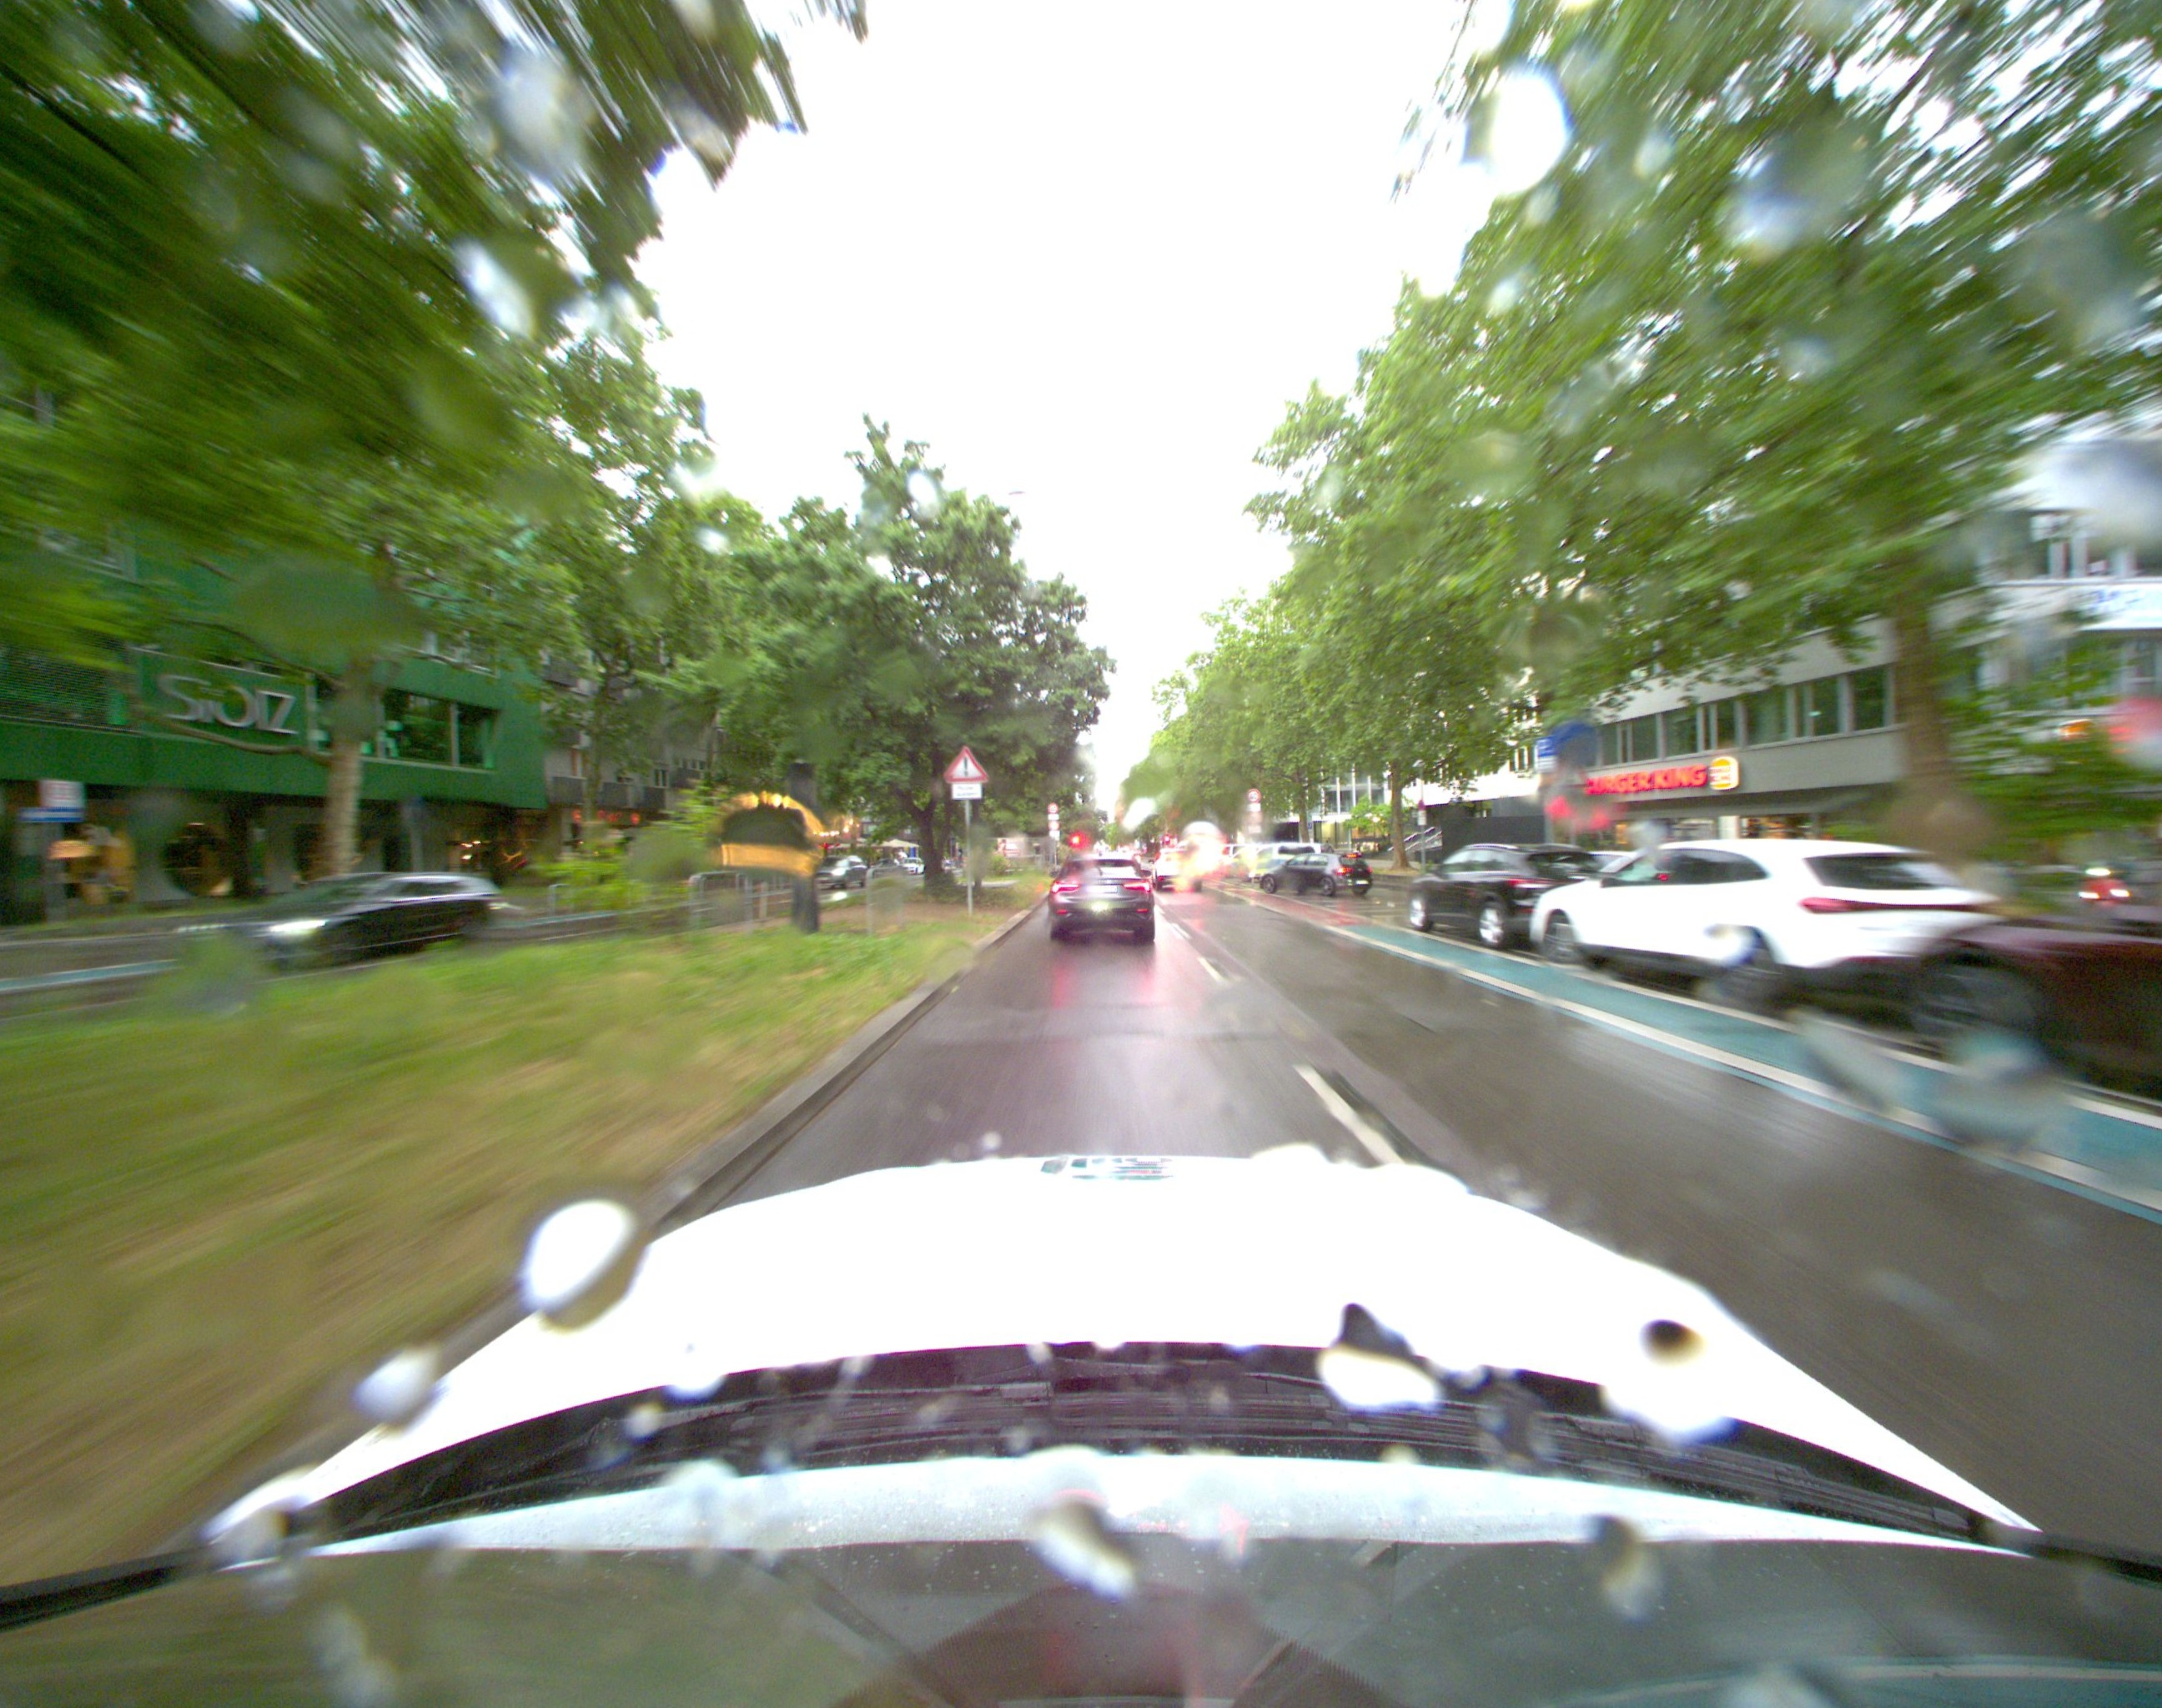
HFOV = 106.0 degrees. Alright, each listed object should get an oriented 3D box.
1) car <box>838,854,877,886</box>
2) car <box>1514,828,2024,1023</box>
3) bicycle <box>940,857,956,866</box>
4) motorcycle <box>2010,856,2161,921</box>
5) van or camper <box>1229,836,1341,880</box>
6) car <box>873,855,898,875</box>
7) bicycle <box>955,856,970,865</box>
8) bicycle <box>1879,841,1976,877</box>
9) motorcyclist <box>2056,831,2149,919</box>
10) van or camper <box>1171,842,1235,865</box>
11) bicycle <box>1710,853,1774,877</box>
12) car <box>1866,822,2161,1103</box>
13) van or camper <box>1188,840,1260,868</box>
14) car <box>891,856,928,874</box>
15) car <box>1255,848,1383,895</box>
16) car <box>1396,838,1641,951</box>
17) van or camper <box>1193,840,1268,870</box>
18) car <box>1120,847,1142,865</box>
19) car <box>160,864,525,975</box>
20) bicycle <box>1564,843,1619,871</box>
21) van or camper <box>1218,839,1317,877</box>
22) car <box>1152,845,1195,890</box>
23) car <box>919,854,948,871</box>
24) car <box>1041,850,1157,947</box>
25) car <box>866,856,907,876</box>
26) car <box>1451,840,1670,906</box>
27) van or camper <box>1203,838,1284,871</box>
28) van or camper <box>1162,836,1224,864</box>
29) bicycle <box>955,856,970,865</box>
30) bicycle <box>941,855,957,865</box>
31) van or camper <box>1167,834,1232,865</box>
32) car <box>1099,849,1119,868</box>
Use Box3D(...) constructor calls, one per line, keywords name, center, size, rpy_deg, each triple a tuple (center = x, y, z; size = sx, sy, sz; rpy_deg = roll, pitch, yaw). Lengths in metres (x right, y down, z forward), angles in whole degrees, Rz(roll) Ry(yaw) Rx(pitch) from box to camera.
Box3D(name="car", center=(-12.041, 0.819, 44.174), size=(1.720, 1.626, 4.423), rpy_deg=(-1, 0, -12))
Box3D(name="car", center=(6.877, 0.572, 8.936), size=(1.747, 1.585, 4.406), rpy_deg=(-1, 0, -3))
Box3D(name="bicycle", center=(-15.722, 0.856, 96.354), size=(1.839, 0.979, 0.565), rpy_deg=(-2, 0, -2))
Box3D(name="motorcycle", center=(19.781, 0.631, 15.891), size=(0.868, 1.142, 2.010), rpy_deg=(-1, 0, -16))
Box3D(name="van or camper", center=(9.820, 0.207, 39.403), size=(4.884, 1.992, 2.015), rpy_deg=(-1, 0, 39))
Box3D(name="car", center=(-14.496, 0.770, 60.366), size=(1.046, 1.387, 2.695), rpy_deg=(-2, 0, 2))
Box3D(name="bicycle", center=(-14.924, 0.834, 102.669), size=(1.842, 1.136, 0.565), rpy_deg=(-2, 0, -6))
Box3D(name="bicycle", center=(24.128, 0.124, 23.274), size=(0.581, 0.895, 2.076), rpy_deg=(-2, 2, -1))
Box3D(name="motorcyclist", center=(19.794, 0.392, 15.799), size=(0.848, 1.644, 0.866), rpy_deg=(-1, 0, -17))
Box3D(name="van or camper", center=(10.539, -0.021, 70.675), size=(5.142, 1.992, 2.013), rpy_deg=(0, 0, 36))
Box3D(name="bicycle", center=(24.121, 0.386, 29.770), size=(0.640, 0.819, 1.909), rpy_deg=(-1, 0, -7))
Box3D(name="car", center=(7.112, 0.603, 4.033), size=(1.988, 1.589, 4.557), rpy_deg=(-1, 0, -2))
Box3D(name="van or camper", center=(11.111, 0.016, 63.510), size=(5.042, 2.025, 2.119), rpy_deg=(-1, 0, 39))
Box3D(name="car", center=(-14.343, 0.877, 68.351), size=(1.986, 1.370, 4.541), rpy_deg=(1, 0, 1))
Box3D(name="car", center=(7.955, 0.553, 27.533), size=(1.777, 1.412, 3.959), rpy_deg=(-2, 0, -32))
Box3D(name="car", center=(7.097, 0.572, 13.827), size=(1.787, 1.603, 4.423), rpy_deg=(0, 0, 0))
Box3D(name="van or camper", center=(10.382, 0.099, 56.682), size=(4.733, 2.011, 2.013), rpy_deg=(-1, 0, 37))
Box3D(name="car", center=(4.939, 0.170, 80.870), size=(1.986, 1.750, 4.002), rpy_deg=(-2, 0, 2))
Box3D(name="car", center=(-12.741, 1.021, 14.633), size=(1.985, 1.491, 4.761), rpy_deg=(-2, 0, 3))
Box3D(name="bicycle", center=(19.001, 0.087, 30.366), size=(0.640, 0.922, 1.911), rpy_deg=(-9, 1, -4))
Box3D(name="van or camper", center=(10.438, 0.183, 45.810), size=(5.023, 2.019, 2.010), rpy_deg=(0, 0, 38))
Box3D(name="car", center=(3.659, 0.504, 32.635), size=(1.428, 1.685, 2.980), rpy_deg=(-2, 0, 2))
Box3D(name="car", center=(-14.238, 0.788, 78.881), size=(1.987, 1.509, 4.517), rpy_deg=(-2, 0, -1))
Box3D(name="car", center=(0.398, 0.719, 15.549), size=(1.856, 1.532, 4.530), rpy_deg=(-1, 0, 3))
Box3D(name="car", center=(-14.603, 0.890, 61.379), size=(1.818, 1.394, 4.485), rpy_deg=(-1, 0, 2))
Box3D(name="car", center=(12.142, 0.484, 20.895), size=(1.876, 1.445, 4.458), rpy_deg=(5, -3, -37))
Box3D(name="van or camper", center=(10.512, 0.057, 52.846), size=(4.792, 1.998, 1.880), rpy_deg=(-1, 0, 38))
Box3D(name="van or camper", center=(11.089, -0.404, 80.800), size=(5.741, 2.677, 2.161), rpy_deg=(-1, 0, 39))
Box3D(name="bicycle", center=(-15.033, 0.835, 103.312), size=(1.842, 1.149, 0.565), rpy_deg=(-2, 0, -6))
Box3D(name="bicycle", center=(-15.728, 0.740, 96.937), size=(1.842, 1.098, 0.613), rpy_deg=(-2, 0, -6))
Box3D(name="van or camper", center=(11.239, -0.413, 77.313), size=(5.736, 2.680, 2.013), rpy_deg=(-2, 0, 37))
Box3D(name="car", center=(2.445, 0.352, 72.778), size=(1.715, 1.577, 3.963), rpy_deg=(-2, 0, 1))
